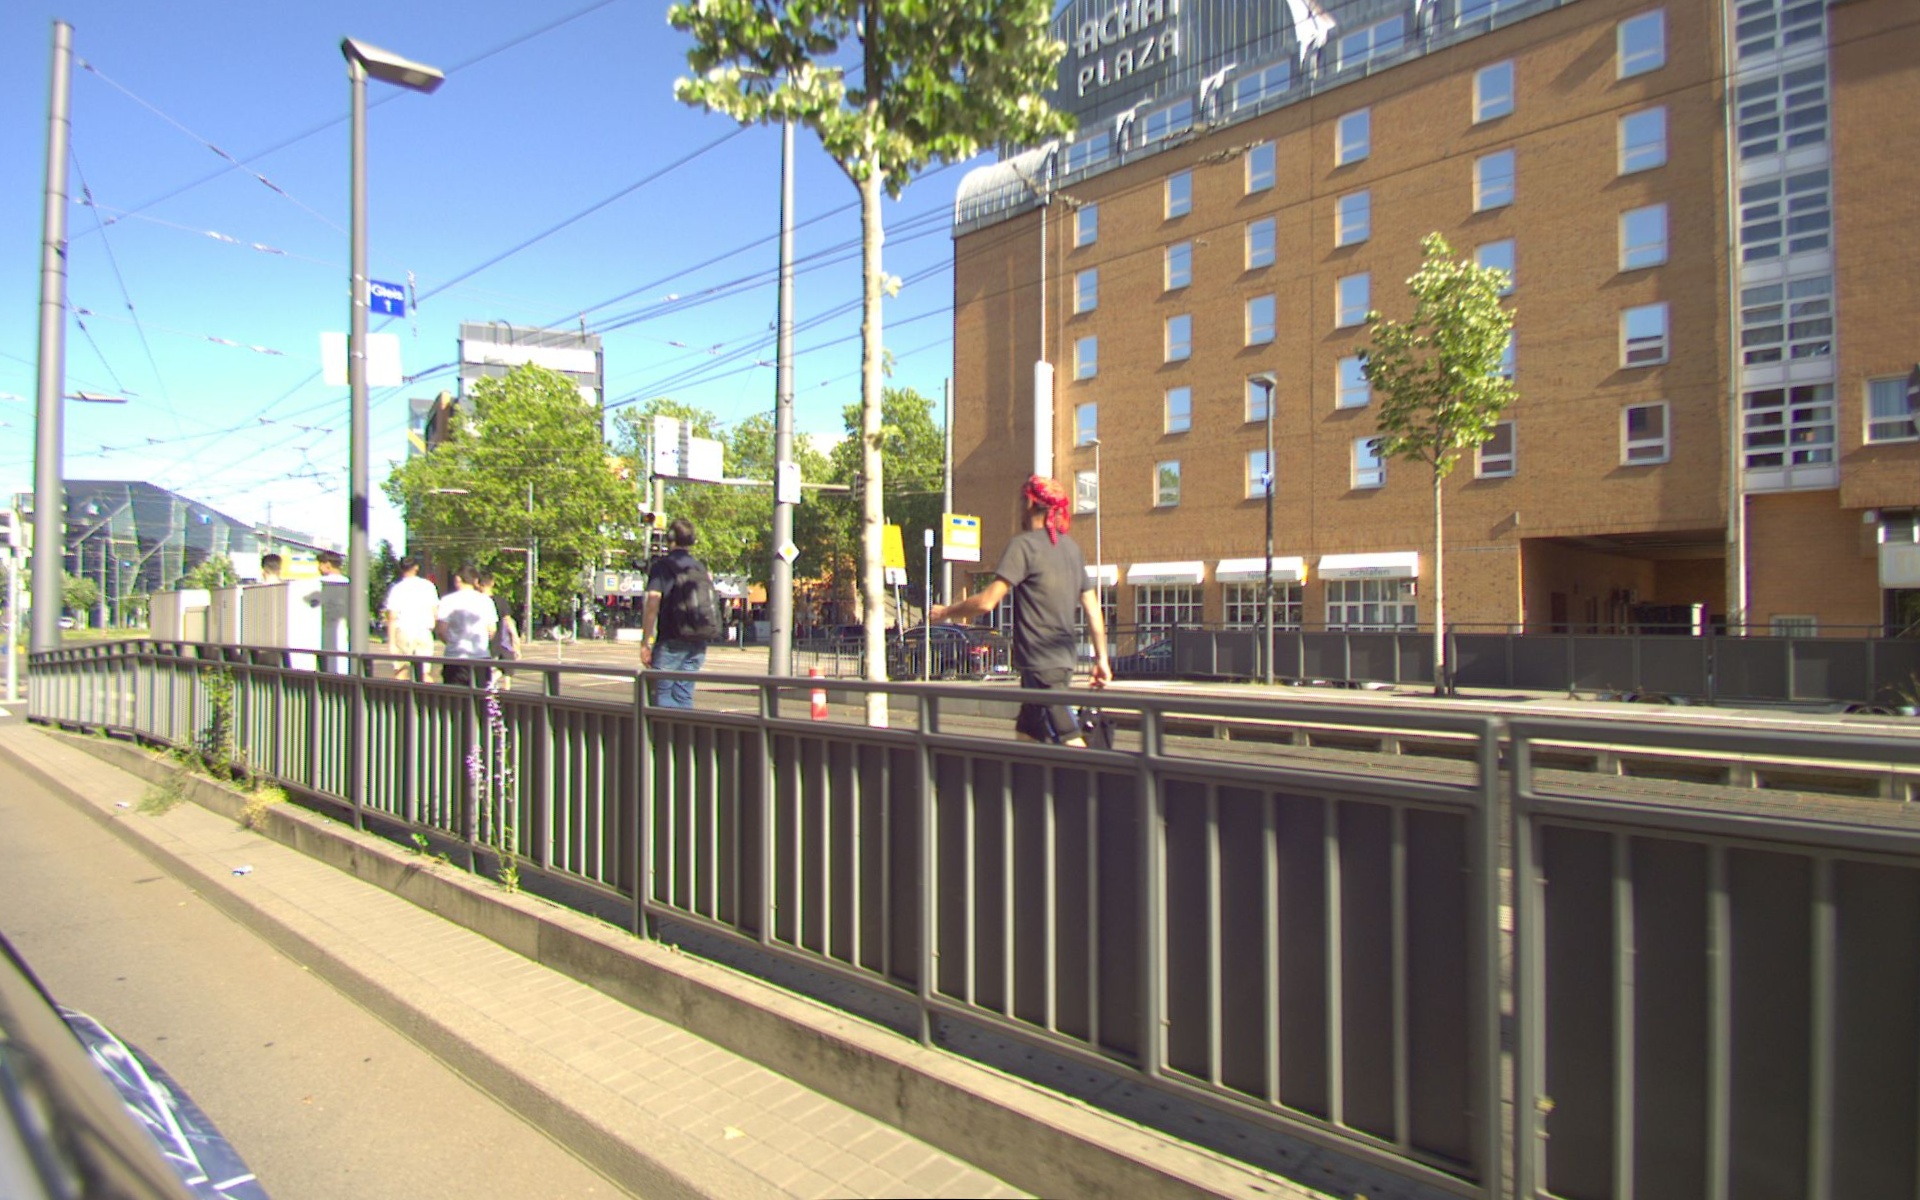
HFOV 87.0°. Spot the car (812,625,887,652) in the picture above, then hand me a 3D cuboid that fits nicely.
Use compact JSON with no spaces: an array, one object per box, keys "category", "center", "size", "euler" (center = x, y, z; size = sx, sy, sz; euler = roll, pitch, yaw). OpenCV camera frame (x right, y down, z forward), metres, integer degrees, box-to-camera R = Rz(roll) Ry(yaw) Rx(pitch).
[{"category":"car","center":[-5.964,2.066,54.678],"size":[3.615,1.421,1.816],"euler":[1,-2,-30]}]

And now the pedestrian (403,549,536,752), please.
[{"category":"pedestrian","center":[-4.209,0.419,8.692],"size":[0.775,1.631,0.746],"euler":[-1,-2,38]}]

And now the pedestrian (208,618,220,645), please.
[{"category":"pedestrian","center":[-47.942,2.018,65.006],"size":[0.572,1.692,0.549],"euler":[1,-2,-36]}]

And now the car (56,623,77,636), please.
[{"category":"car","center":[-114.837,3.757,130.105],"size":[1.925,1.475,4.006],"euler":[-1,0,-40]}]

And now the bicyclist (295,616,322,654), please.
[{"category":"bicyclist","center":[-28.969,1.549,45.042],"size":[0.835,1.652,0.781],"euler":[1,-2,-21]}]

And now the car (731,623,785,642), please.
[{"category":"car","center":[-16.261,2.624,81.555],"size":[1.911,1.519,3.941],"euler":[-1,-2,44]}]

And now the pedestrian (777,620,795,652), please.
[{"category":"pedestrian","center":[-9.596,1.975,55.763],"size":[0.636,1.719,0.729],"euler":[2,-2,-44]}]

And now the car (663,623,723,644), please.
[{"category":"car","center":[-20.472,2.574,77.738],"size":[1.911,1.519,4.112],"euler":[-1,-2,44]}]

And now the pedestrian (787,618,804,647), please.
[{"category":"pedestrian","center":[-9.294,1.833,57.145],"size":[0.636,1.622,0.729],"euler":[2,-2,-44]}]

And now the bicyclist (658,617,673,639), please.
[{"category":"bicyclist","center":[-24.621,2.305,84.598],"size":[0.913,1.822,0.862],"euler":[2,-2,-42]}]

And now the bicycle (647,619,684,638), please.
[{"category":"bicycle","center":[-24.541,2.391,84.432],"size":[2.805,1.548,0.905],"euler":[2,-2,-42]}]

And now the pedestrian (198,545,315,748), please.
[{"category":"pedestrian","center":[-6.445,0.415,9.274],"size":[0.819,1.757,0.640],"euler":[-1,-2,39]}]

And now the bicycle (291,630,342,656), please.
[{"category":"bicycle","center":[-28.693,1.919,45.174],"size":[1.809,1.108,0.640],"euler":[1,-2,-20]}]

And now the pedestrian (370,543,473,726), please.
[{"category":"pedestrian","center":[-5.516,0.348,10.368],"size":[0.819,1.787,0.640],"euler":[-1,-2,39]}]

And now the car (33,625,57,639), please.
[{"category":"car","center":[-107.300,3.726,118.735],"size":[1.925,1.475,4.006],"euler":[-1,0,-40]}]

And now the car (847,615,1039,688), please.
[{"category":"car","center":[-0.463,1.116,23.087],"size":[4.289,1.509,1.911],"euler":[-1,-2,43]}]

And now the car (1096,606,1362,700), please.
[{"category":"car","center":[4.773,0.897,18.358],"size":[4.289,1.509,1.911],"euler":[-1,-2,43]}]

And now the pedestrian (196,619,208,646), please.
[{"category":"pedestrian","center":[-47.490,2.039,63.399],"size":[0.572,1.647,0.549],"euler":[1,-2,-36]}]

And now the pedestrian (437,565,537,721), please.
[{"category":"pedestrian","center":[-5.027,0.446,10.754],"size":[0.907,1.581,0.602],"euler":[-1,-2,39]}]

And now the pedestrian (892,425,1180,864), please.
[{"category":"pedestrian","center":[0.381,0.197,4.918],"size":[1.021,1.825,0.981],"euler":[-1,-2,38]}]

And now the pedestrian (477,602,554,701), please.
[{"category":"pedestrian","center":[-8.018,0.911,18.247],"size":[1.007,1.702,0.947],"euler":[-1,-2,44]}]

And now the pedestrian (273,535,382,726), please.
[{"category":"pedestrian","center":[-6.166,0.291,9.863],"size":[0.819,1.757,0.640],"euler":[-1,-2,39]}]

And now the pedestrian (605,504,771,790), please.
[{"category":"pedestrian","center":[-1.881,0.310,7.016],"size":[0.839,1.825,0.746],"euler":[-1,-2,39]}]
